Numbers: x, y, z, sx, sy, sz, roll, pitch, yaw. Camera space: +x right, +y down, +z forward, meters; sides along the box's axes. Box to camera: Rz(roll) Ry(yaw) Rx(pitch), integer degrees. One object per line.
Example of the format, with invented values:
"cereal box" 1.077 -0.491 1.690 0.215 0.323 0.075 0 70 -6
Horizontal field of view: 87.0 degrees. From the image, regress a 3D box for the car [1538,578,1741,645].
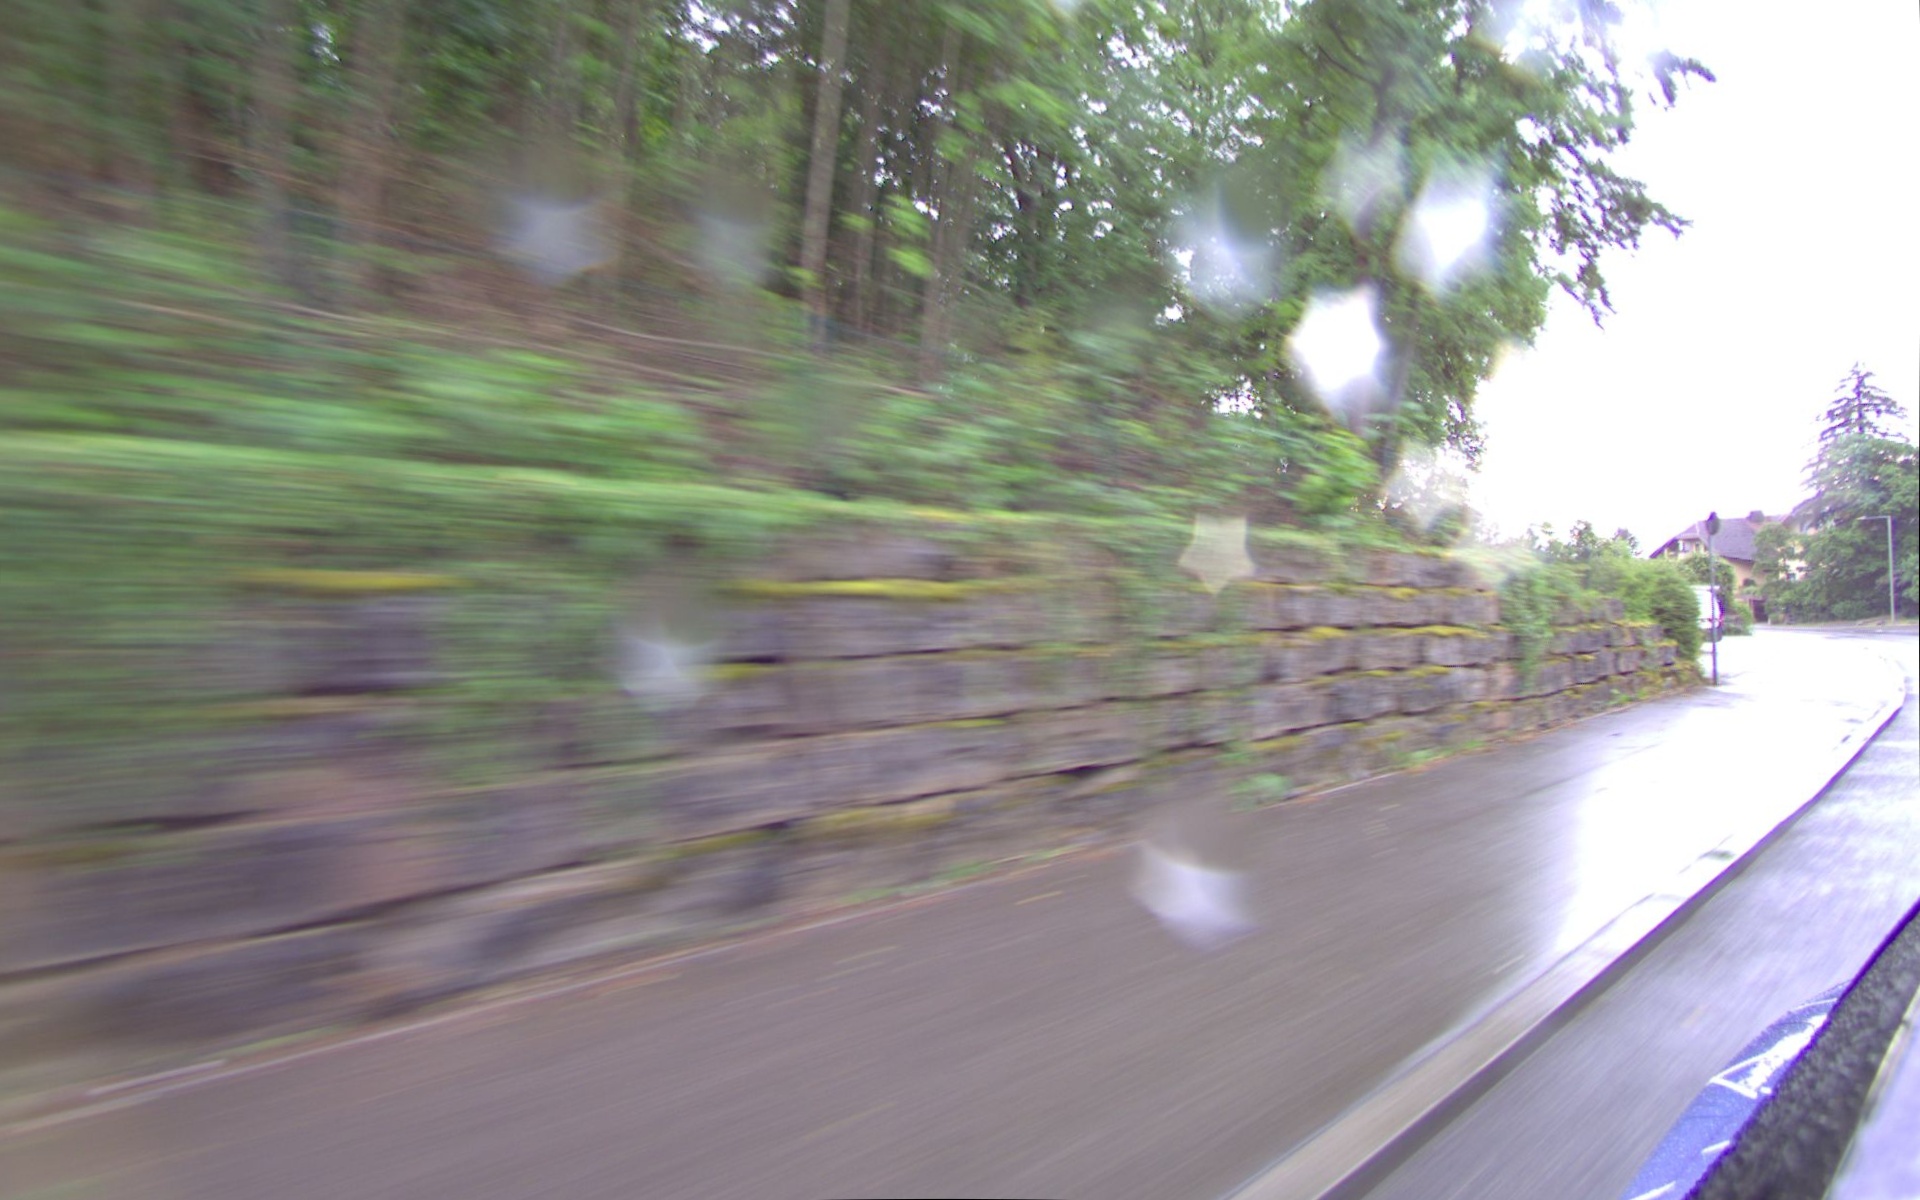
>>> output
"car" 20.677 0.348 30.940 4.748 1.965 2.157 0 -1 -2
